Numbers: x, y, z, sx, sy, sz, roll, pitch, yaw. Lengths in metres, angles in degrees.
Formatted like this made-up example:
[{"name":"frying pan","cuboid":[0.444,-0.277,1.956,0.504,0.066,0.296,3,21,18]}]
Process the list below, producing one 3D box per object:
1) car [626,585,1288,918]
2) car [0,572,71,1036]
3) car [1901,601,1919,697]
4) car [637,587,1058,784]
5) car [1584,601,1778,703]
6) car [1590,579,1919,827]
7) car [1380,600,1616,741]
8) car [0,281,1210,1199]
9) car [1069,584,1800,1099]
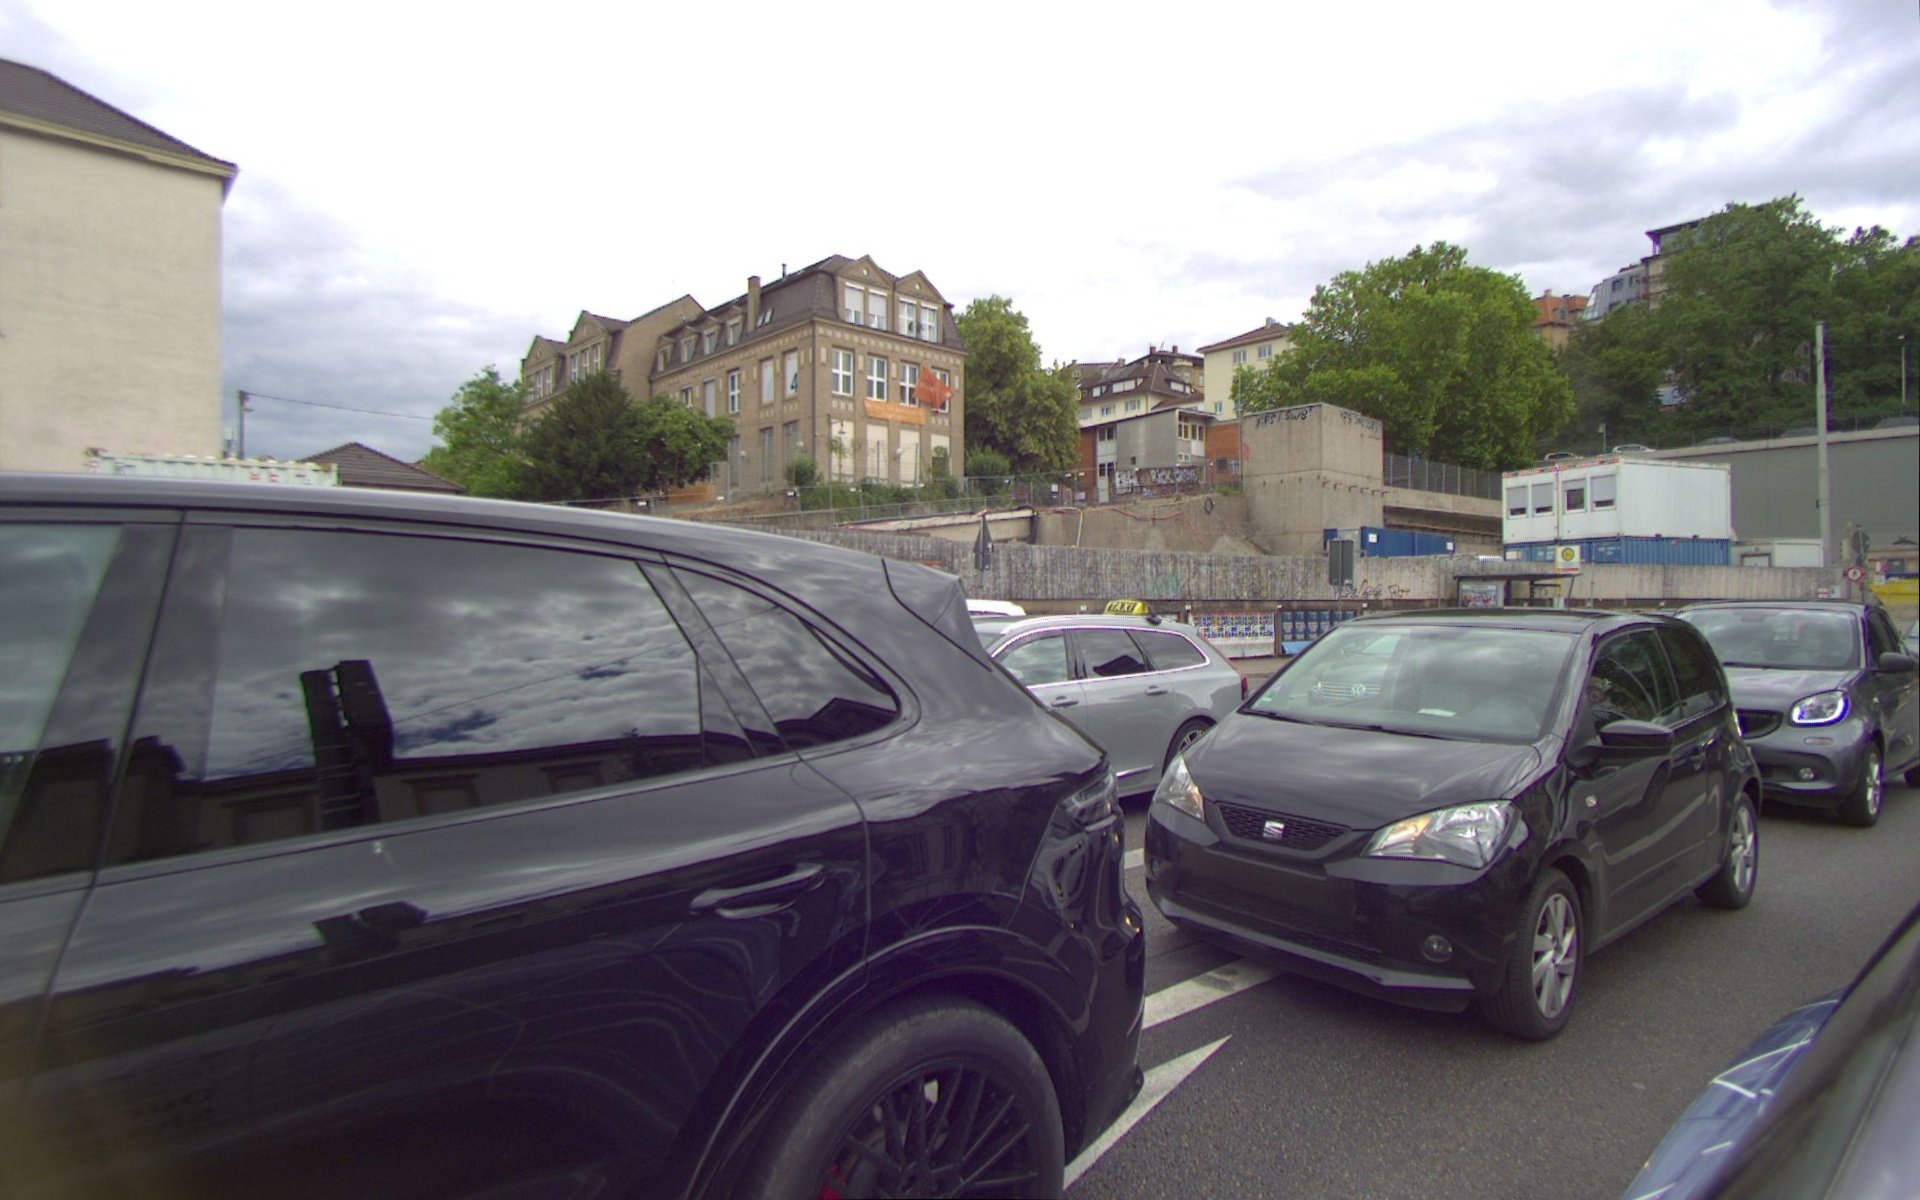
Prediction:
[{"name":"car","cuboid":[0.259,0.722,7.265,4.725,1.645,1.827,-1,0,-41]},{"name":"car","cuboid":[-5.314,0.738,3.042,3.930,1.645,1.679,-1,0,-41]},{"name":"car","cuboid":[16.781,0.752,16.424,3.738,1.477,1.680,-1,0,-39]},{"name":"car","cuboid":[-1.017,0.698,10.482,4.136,1.645,1.679,-1,0,-41]},{"name":"car","cuboid":[11.497,0.735,16.059,3.740,1.383,1.679,-1,0,-41]},{"name":"car","cuboid":[6.698,0.651,8.189,3.511,1.563,1.720,0,0,-40]},{"name":"car","cuboid":[6.492,0.736,12.158,2.667,1.449,1.664,-1,0,-41]},{"name":"car","cuboid":[-1.685,0.553,1.557,4.406,1.736,1.827,-1,0,-41]},{"name":"car","cuboid":[2.426,0.670,4.795,3.636,1.476,1.827,-1,0,-41]}]
